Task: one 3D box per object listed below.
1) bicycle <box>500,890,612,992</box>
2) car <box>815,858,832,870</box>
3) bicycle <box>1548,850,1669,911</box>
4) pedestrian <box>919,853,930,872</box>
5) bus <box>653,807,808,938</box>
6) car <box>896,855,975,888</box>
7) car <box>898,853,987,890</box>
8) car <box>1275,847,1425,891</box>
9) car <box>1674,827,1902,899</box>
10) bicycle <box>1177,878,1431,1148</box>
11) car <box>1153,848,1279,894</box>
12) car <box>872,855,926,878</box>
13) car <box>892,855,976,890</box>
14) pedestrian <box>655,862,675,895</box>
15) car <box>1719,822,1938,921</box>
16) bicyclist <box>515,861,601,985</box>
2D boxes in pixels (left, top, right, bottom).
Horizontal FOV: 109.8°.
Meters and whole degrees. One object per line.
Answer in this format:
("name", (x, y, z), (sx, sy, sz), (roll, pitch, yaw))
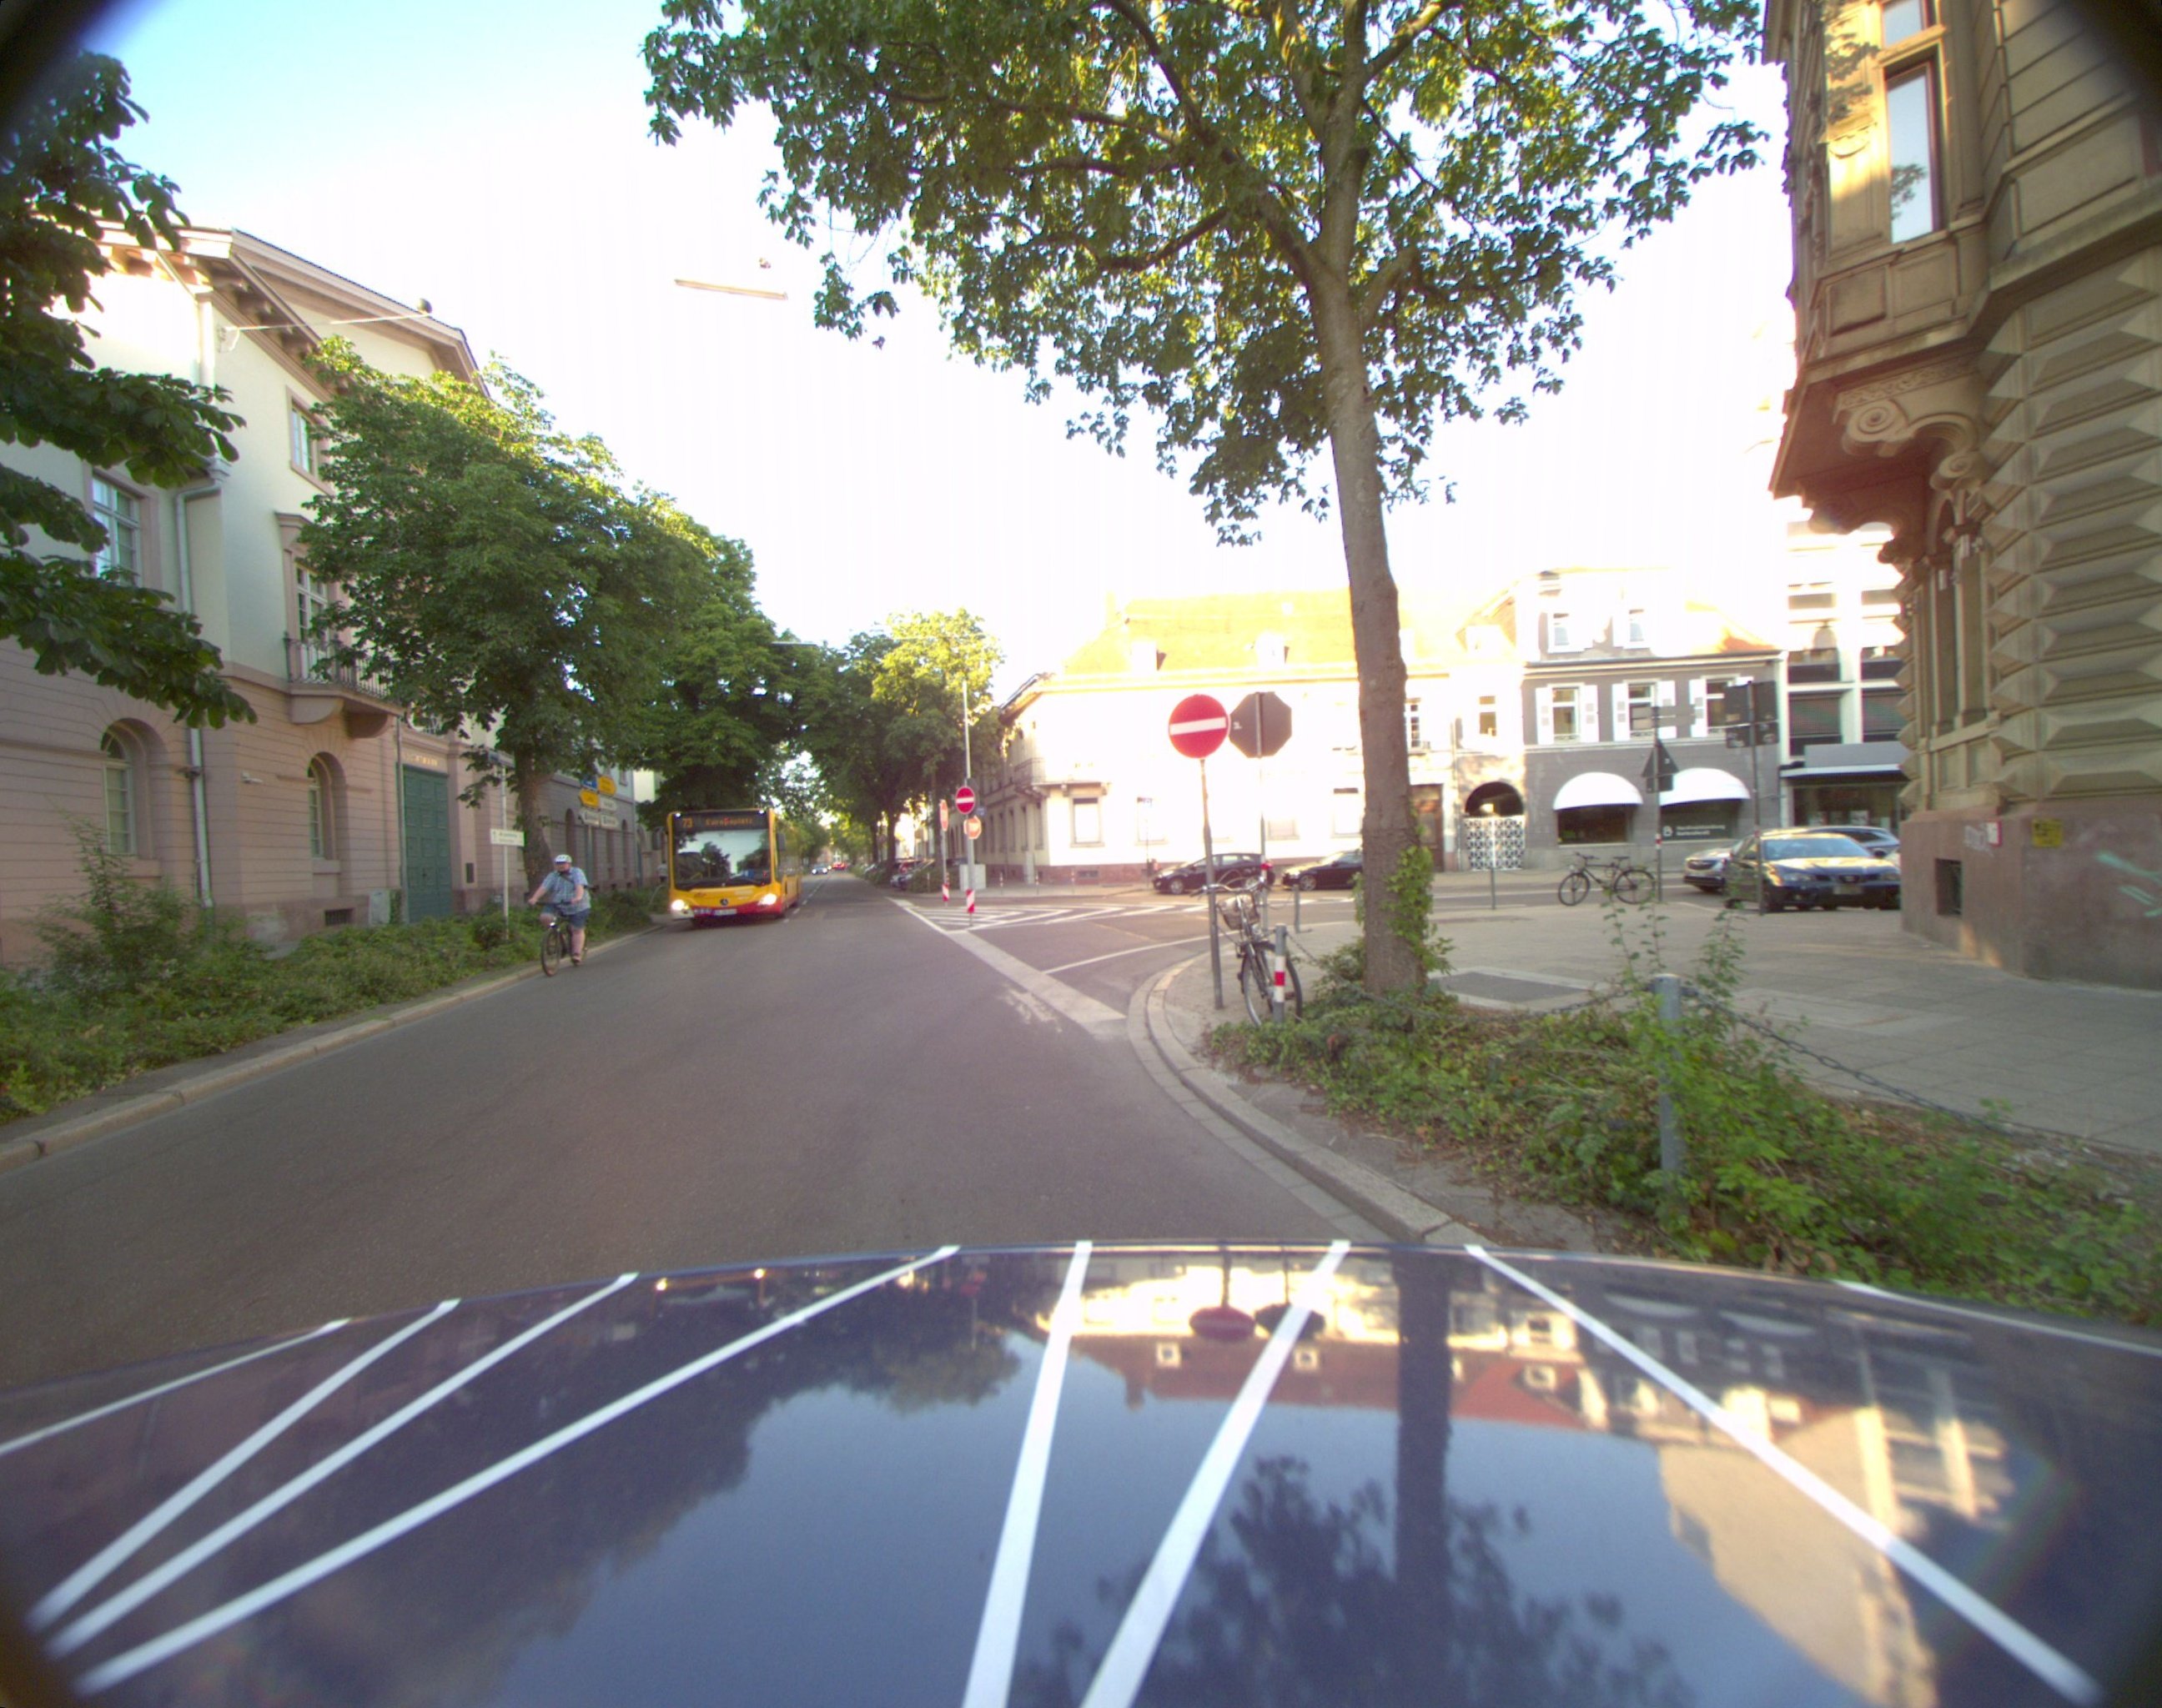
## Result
("bicycle", (-8.220, 1.310, 12.020), (0.784, 1.322, 2.075), (-4, 1, -18))
("car", (-36.596, 1.390, 107.903), (2.084, 1.687, 3.994), (-2, 0, -16))
("bicycle", (10.505, 0.539, 15.208), (1.800, 1.119, 0.729), (-2, -2, 14))
("pedestrian", (-15.650, 0.847, 75.828), (0.896, 1.760, 1.020), (-2, 1, -18))
("bus", (-10.510, 0.446, 24.163), (2.715, 2.983, 12.064), (-4, 1, -17))
("car", (-8.045, 0.930, 41.856), (4.003, 1.606, 1.721), (-2, 1, -19))
("car", (-6.798, 0.826, 37.193), (4.003, 1.606, 1.826), (-2, 1, -19))
("car", (9.669, 0.542, 27.622), (4.851, 1.386, 1.780), (-2, 0, 7))
("car", (17.194, 0.177, 18.580), (4.236, 1.580, 1.689), (-1, 1, -6))
("bicycle", (1.292, 0.841, 5.125), (0.845, 1.260, 2.572), (-2, 0, -2))
("car", (4.911, 0.625, 28.125), (4.425, 1.532, 1.808), (-2, 0, 5))
("car", (-14.554, 0.982, 60.757), (4.003, 1.606, 1.721), (-2, 1, -19))
("car", (-7.625, 0.956, 39.444), (4.003, 1.606, 1.721), (-2, 1, -19))
("pedestrian", (-23.719, 1.367, 43.311), (0.801, 1.821, 0.928), (-2, 1, -20))
("car", (12.730, 0.337, 13.256), (1.736, 1.452, 3.872), (-2, -3, 29))
("bicyclist", (-8.238, 1.049, 12.008), (0.784, 1.829, 0.825), (-4, 1, -18))
